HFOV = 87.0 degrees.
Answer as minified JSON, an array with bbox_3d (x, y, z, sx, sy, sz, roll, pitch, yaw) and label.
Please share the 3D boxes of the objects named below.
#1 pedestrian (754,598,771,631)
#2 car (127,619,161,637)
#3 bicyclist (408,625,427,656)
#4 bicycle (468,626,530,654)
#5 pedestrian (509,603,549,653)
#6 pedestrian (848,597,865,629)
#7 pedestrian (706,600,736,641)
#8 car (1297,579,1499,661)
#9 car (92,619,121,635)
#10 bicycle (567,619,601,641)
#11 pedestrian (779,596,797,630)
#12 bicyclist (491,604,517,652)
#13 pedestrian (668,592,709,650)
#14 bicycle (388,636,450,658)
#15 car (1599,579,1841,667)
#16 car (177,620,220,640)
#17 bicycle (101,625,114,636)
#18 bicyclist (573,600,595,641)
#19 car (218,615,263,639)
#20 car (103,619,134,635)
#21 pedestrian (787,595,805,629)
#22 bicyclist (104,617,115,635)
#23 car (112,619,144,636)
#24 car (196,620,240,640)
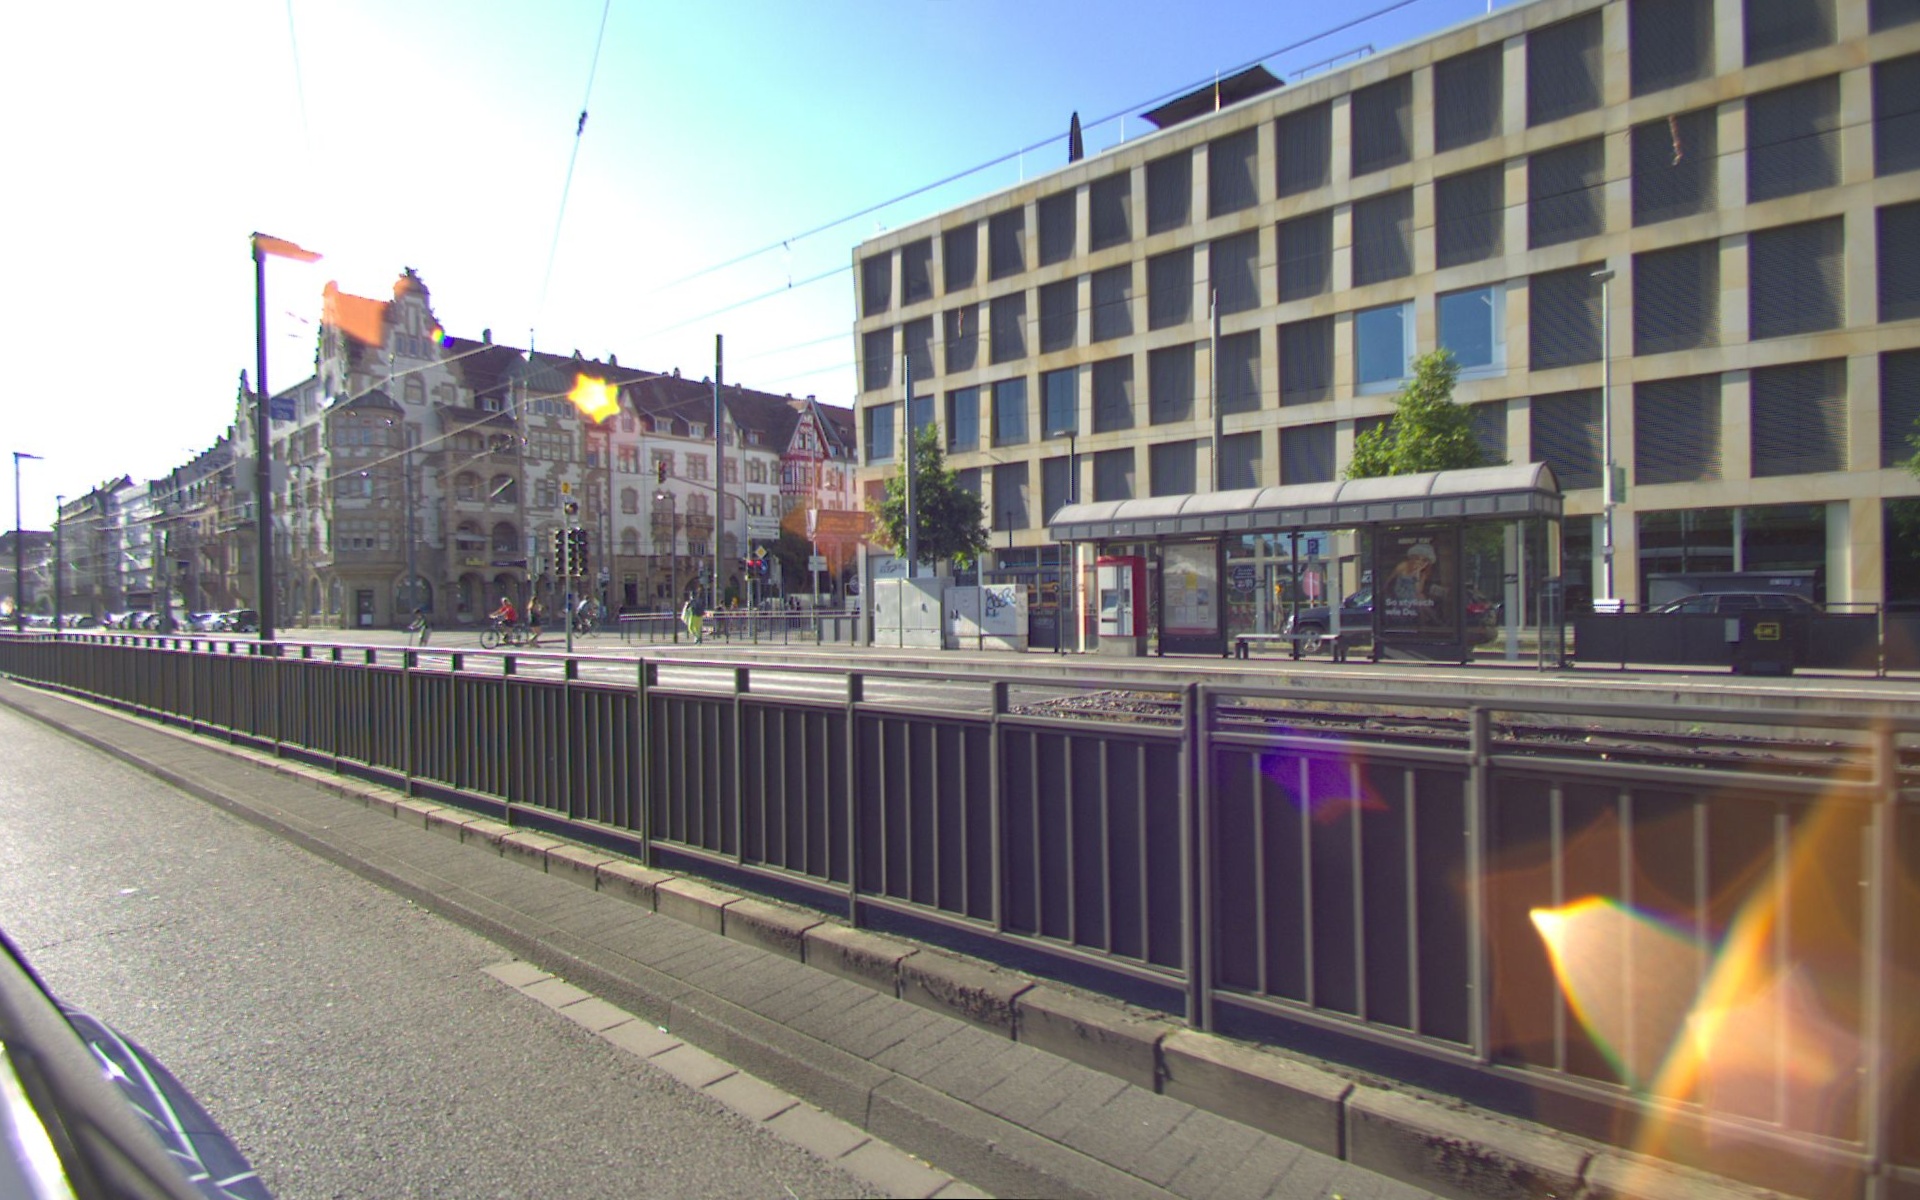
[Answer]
[{"bbox_3d":[-10.028,0.733,51.341,0.582,1.695,0.609,-2,-1,39],"label":"pedestrian"},{"bbox_3d":[-75.906,2.622,94.144,3.998,1.536,1.719,-1,1,41],"label":"car"},{"bbox_3d":[-17.667,1.319,32.963,0.456,1.001,0.512,-1,-1,-39],"label":"bicyclist"},{"bbox_3d":[-15.963,1.378,35.076,1.861,0.885,0.608,-1,-1,-41],"label":"bicycle"},{"bbox_3d":[-14.443,0.923,33.895,0.792,1.657,0.924,-1,-1,28],"label":"pedestrian"},{"bbox_3d":[-5.529,0.674,54.045,0.607,1.695,0.583,-1,-1,-44],"label":"pedestrian"},{"bbox_3d":[-9.899,0.856,41.912,0.792,1.657,0.924,-1,-1,28],"label":"pedestrian"},{"bbox_3d":[10.338,0.456,24.052,3.999,1.783,1.898,-2,-1,42],"label":"car"},{"bbox_3d":[-88.223,2.773,104.604,3.998,1.536,1.719,-1,1,41],"label":"car"},{"bbox_3d":[-16.682,1.337,44.983,0.508,0.918,1.882,-1,0,11],"label":"bicycle"},{"bbox_3d":[-8.694,0.670,51.127,0.582,1.695,0.609,-2,-1,39],"label":"pedestrian"},{"bbox_3d":[-15.856,0.964,35.176,0.620,1.630,0.685,-1,-1,-41],"label":"bicyclist"},{"bbox_3d":[-8.047,0.619,29.969,0.933,1.657,0.785,-2,-1,42],"label":"pedestrian"},{"bbox_3d":[-17.651,1.522,33.015,1.700,0.613,0.512,-2,1,-40],"label":"bicycle"},{"bbox_3d":[14.864,0.438,19.891,3.649,1.573,1.627,-2,-1,42],"label":"car"},{"bbox_3d":[-62.703,2.456,83.288,3.992,1.536,1.721,-2,1,36],"label":"car"},{"bbox_3d":[-80.399,2.878,95.437,2.066,1.010,0.600,-1,-1,39],"label":"bicycle"},{"bbox_3d":[-16.693,0.909,44.979,0.640,1.821,0.665,-1,-1,12],"label":"bicyclist"},{"bbox_3d":[-54.138,2.044,76.129,3.996,1.682,1.758,-2,-1,39],"label":"car"},{"bbox_3d":[-84.548,2.726,101.649,3.998,1.536,1.719,-1,1,41],"label":"car"},{"bbox_3d":[-8.390,0.614,51.737,0.638,1.695,0.609,-2,-1,38],"label":"pedestrian"},{"bbox_3d":[-80.282,2.461,95.569,0.629,1.630,0.675,-2,-1,39],"label":"bicyclist"},{"bbox_3d":[-80.646,2.681,98.068,3.998,1.536,1.719,-1,1,41],"label":"car"},{"bbox_3d":[-58.536,2.350,79.859,4.427,1.487,1.706,-2,-1,39],"label":"car"}]
